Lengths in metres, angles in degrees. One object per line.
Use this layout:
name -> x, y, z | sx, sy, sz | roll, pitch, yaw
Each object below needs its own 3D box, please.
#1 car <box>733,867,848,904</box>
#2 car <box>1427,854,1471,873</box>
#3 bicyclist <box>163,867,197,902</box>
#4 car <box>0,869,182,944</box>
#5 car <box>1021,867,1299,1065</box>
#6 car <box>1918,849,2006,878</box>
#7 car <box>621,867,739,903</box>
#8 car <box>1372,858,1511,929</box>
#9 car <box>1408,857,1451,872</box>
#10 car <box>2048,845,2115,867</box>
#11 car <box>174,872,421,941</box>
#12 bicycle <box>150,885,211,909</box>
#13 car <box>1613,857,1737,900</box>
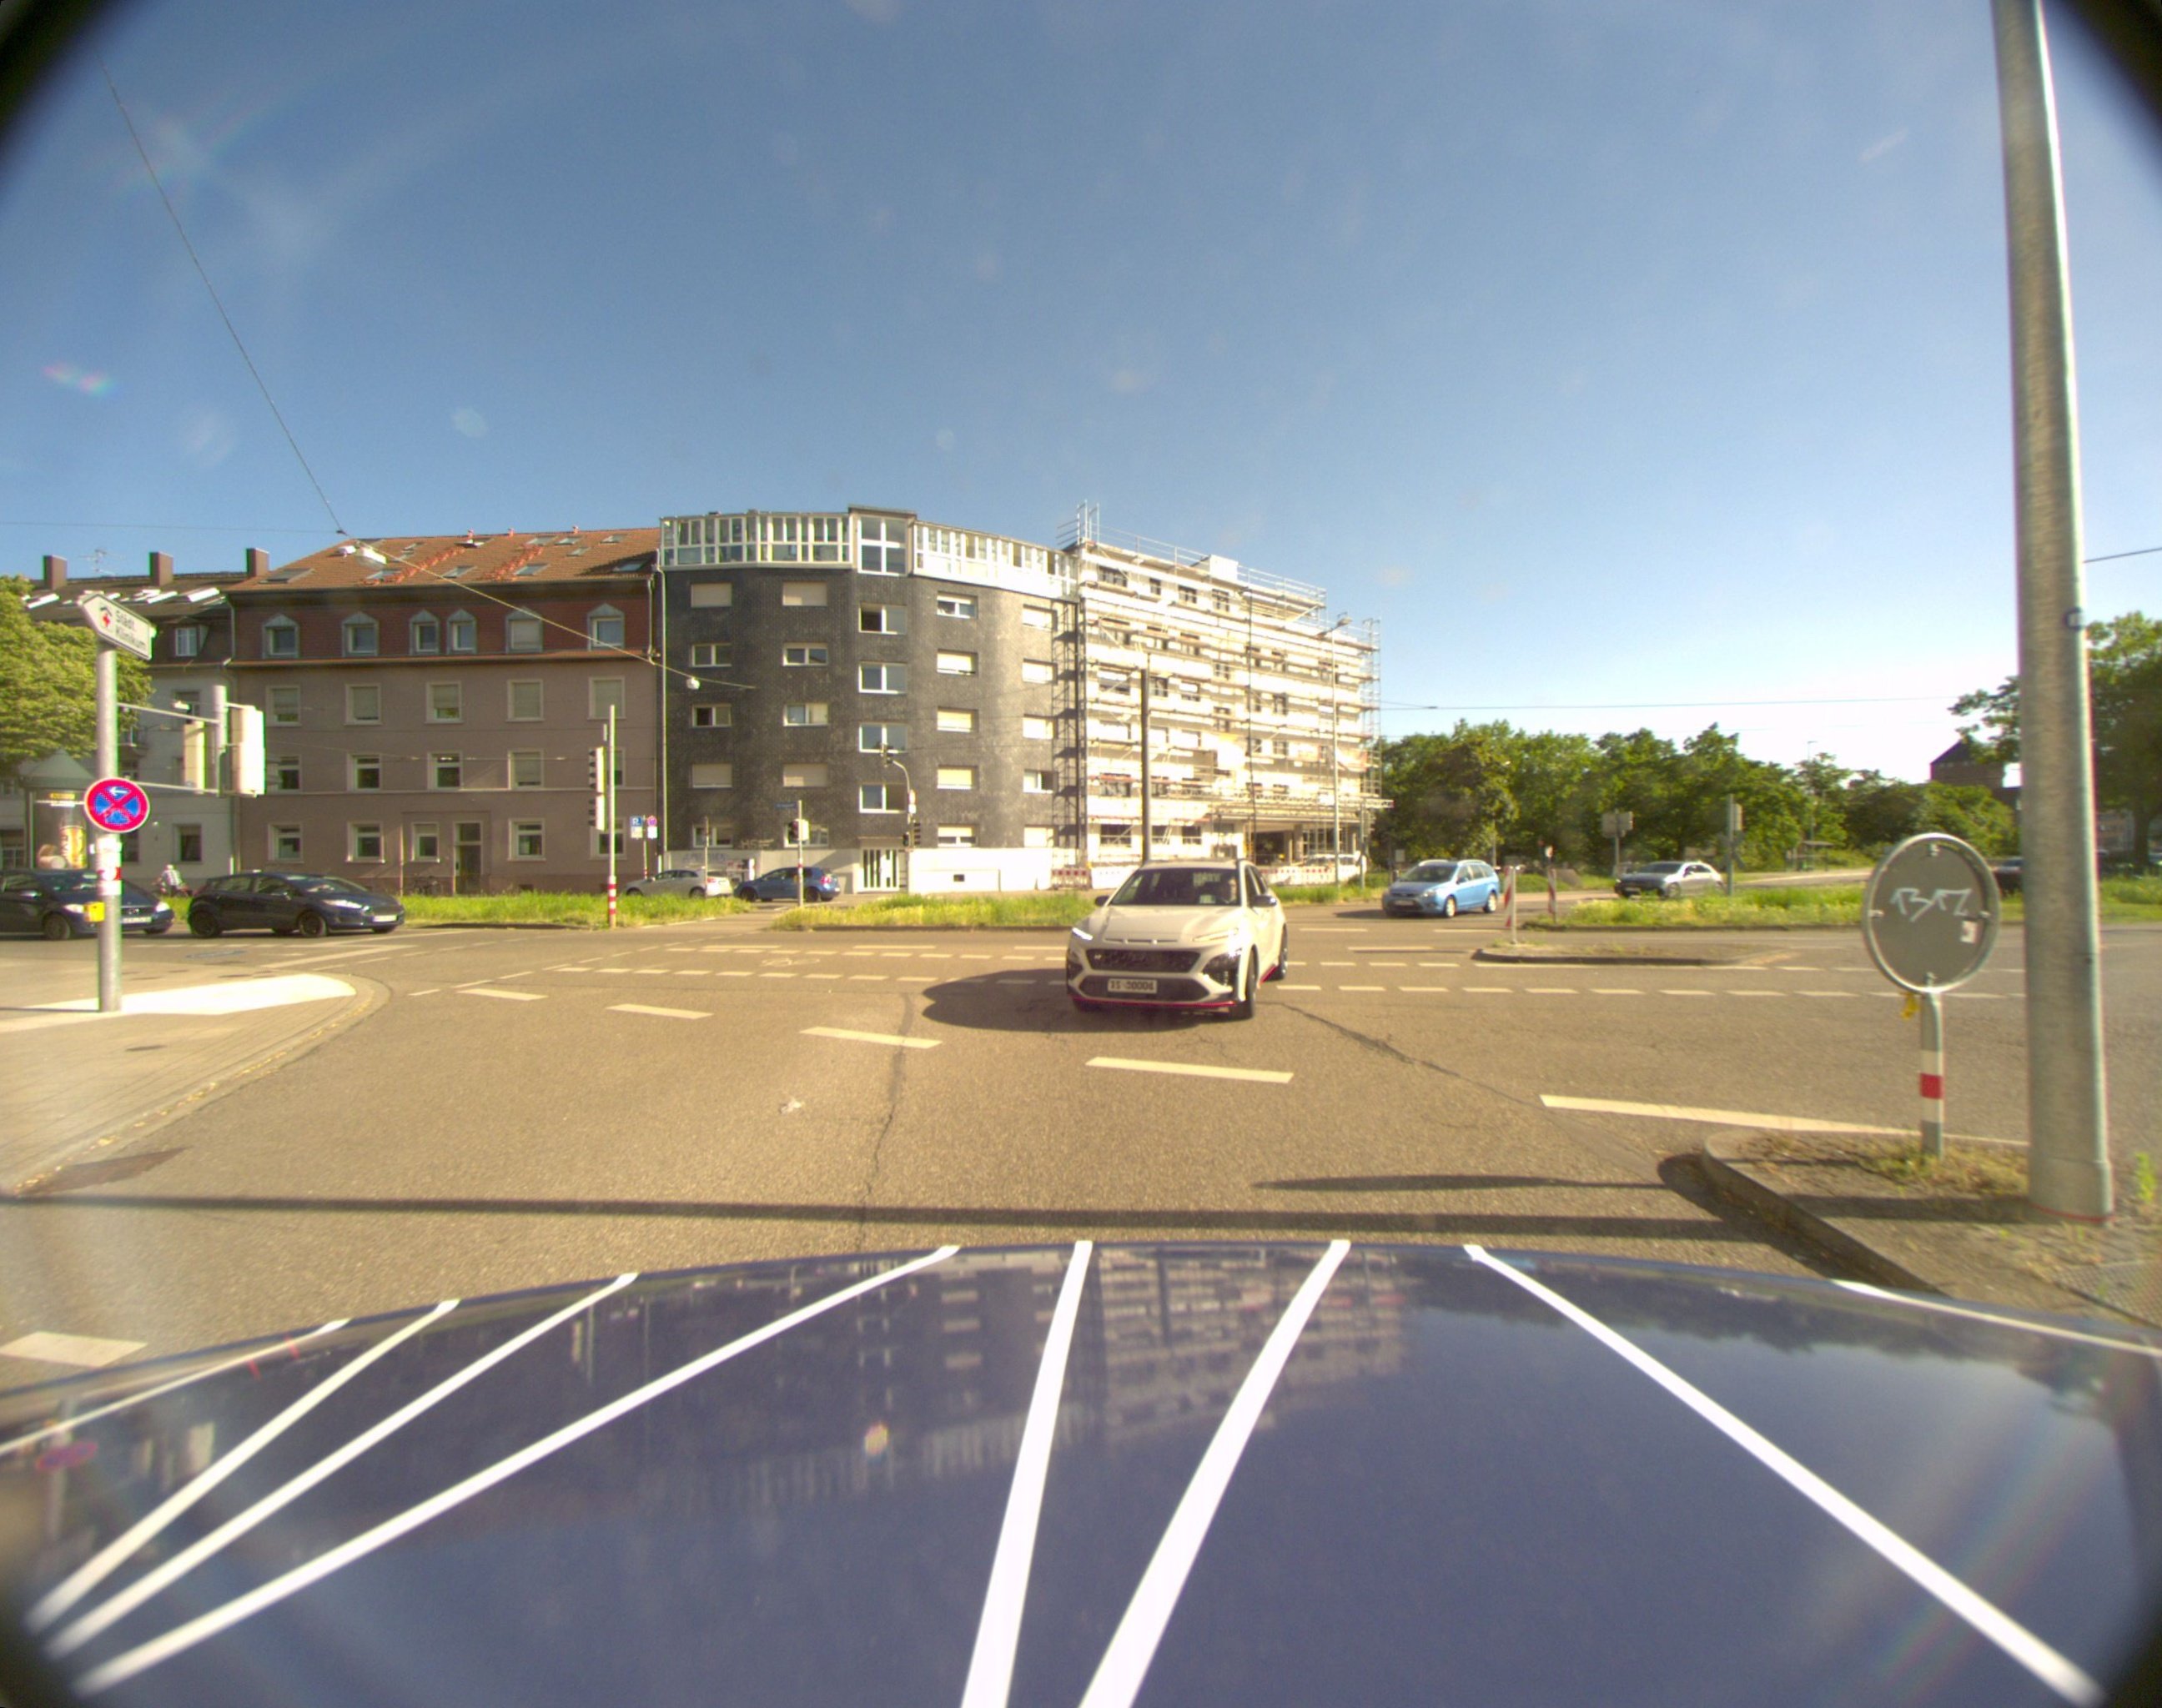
car -> -11.773, 1.257, 30.948 | 3.995, 1.407, 1.689 | 0, 0, 4
car -> 32.748, 0.810, 67.611 | 3.691, 1.574, 1.817 | -1, 0, -30
bicyclist -> -36.669, 1.254, 30.929 | 0.805, 1.401, 0.509 | 0, 0, 2
car -> -23.255, 1.163, 17.263 | 3.995, 1.572, 1.660 | -1, 0, 6
car -> 1.209, 0.958, 8.615 | 1.901, 1.543, 4.492 | 0, 0, 23
car -> 46.455, 0.502, 40.042 | 4.490, 1.447, 1.870 | 0, 0, -25
car -> -16.467, 1.247, 31.327 | 3.995, 1.407, 1.689 | 0, 0, 4
car -> 10.263, 1.024, 21.469 | 4.494, 1.765, 1.869 | 0, 0, -41
car -> 32.015, 0.945, 69.774 | 3.691, 1.386, 1.817 | 0, 0, -30
car -> 68.827, 0.117, 52.245 | 4.490, 1.447, 1.870 | 0, 0, -25
car -> -17.471, 1.139, 17.045 | 3.995, 1.444, 1.735 | -1, -1, 6
bicycle -> -36.663, 1.763, 30.939 | 1.995, 0.949, 0.507 | 0, 0, 3
car -> 22.111, 0.858, 28.257 | 4.491, 1.447, 1.870 | 0, 0, -26
